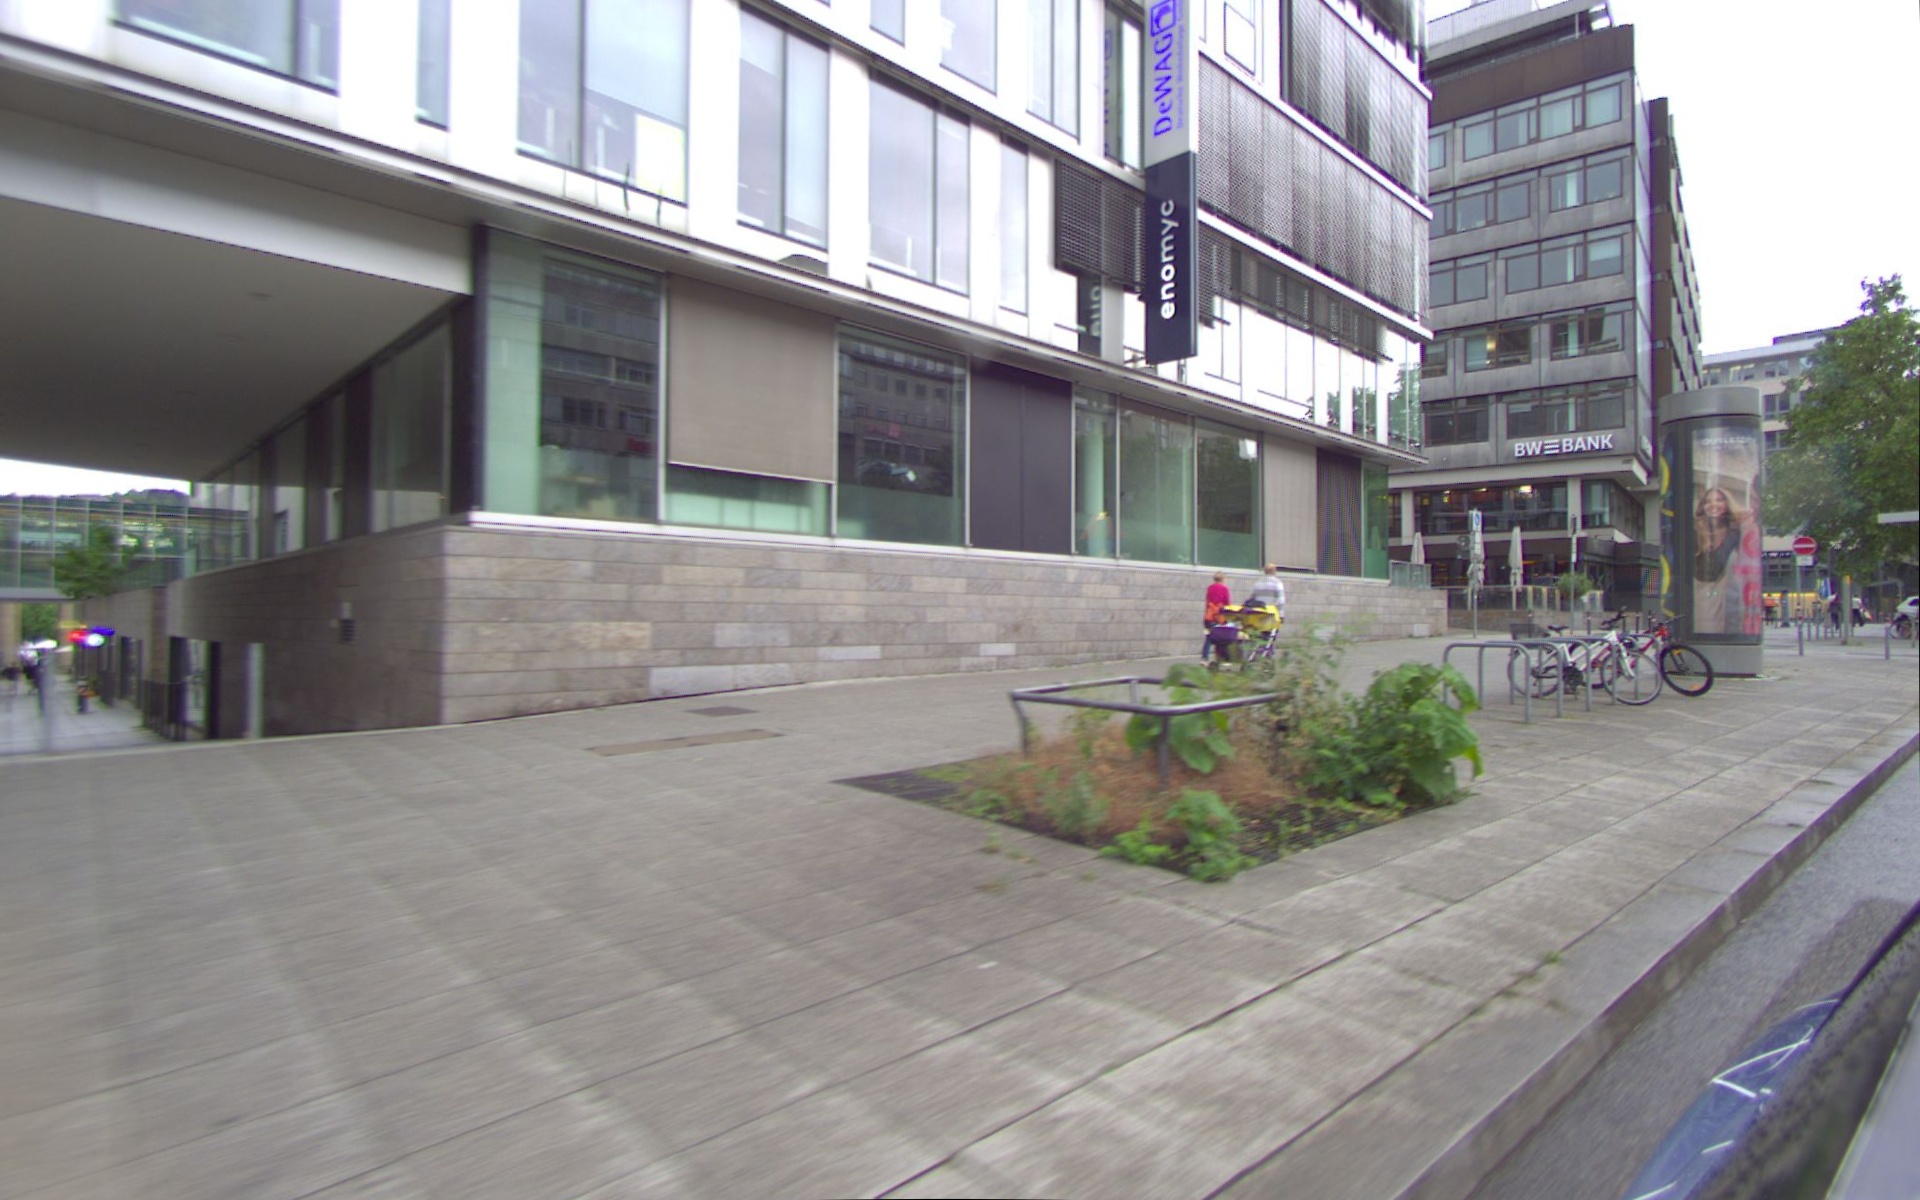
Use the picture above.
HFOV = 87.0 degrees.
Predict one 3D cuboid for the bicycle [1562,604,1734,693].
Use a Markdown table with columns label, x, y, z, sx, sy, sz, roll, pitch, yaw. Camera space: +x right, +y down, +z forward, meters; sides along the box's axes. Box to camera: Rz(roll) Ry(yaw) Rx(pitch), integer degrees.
| label | x | y | z | sx | sy | sz | roll | pitch | yaw |
| --- | --- | --- | --- | --- | --- | --- | --- | --- | --- |
| bicycle | 9.519 | 0.631 | 14.053 | 0.658 | 1.124 | 1.874 | 0 | 0 | -42 |

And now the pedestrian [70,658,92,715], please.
| label | x | y | z | sx | sy | sz | roll | pitch | yaw |
| --- | --- | --- | --- | --- | --- | --- | --- | --- | --- |
| pedestrian | -30.784 | 3.027 | 35.436 | 0.556 | 1.940 | 0.660 | 0 | -3 | -40 |

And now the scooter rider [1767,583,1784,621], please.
| label | x | y | z | sx | sy | sz | roll | pitch | yaw |
| --- | --- | --- | --- | --- | --- | --- | --- | --- | --- |
| scooter rider | 44.578 | 0.094 | 55.298 | 0.840 | 2.051 | 0.626 | 0 | -1 | -45 |

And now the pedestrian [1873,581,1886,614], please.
| label | x | y | z | sx | sy | sz | roll | pitch | yaw |
| --- | --- | --- | --- | --- | --- | --- | --- | --- | --- |
| pedestrian | 48.898 | -0.130 | 53.826 | 0.488 | 1.723 | 0.451 | -1 | 0 | -42 |

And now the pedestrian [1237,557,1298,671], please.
| label | x | y | z | sx | sy | sz | roll | pitch | yaw |
| --- | --- | --- | --- | --- | --- | --- | --- | --- | --- |
| pedestrian | 5.175 | 0.220 | 17.049 | 0.735 | 1.853 | 0.722 | 0 | 1 | -45 |

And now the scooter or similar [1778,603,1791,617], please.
| label | x | y | z | sx | sy | sz | roll | pitch | yaw |
| --- | --- | --- | --- | --- | --- | --- | --- | --- | --- |
| scooter or similar | 44.866 | 0.546 | 55.070 | 0.407 | 0.782 | 1.256 | -1 | 0 | 45 |

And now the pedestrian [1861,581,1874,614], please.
| label | x | y | z | sx | sy | sz | roll | pitch | yaw |
| --- | --- | --- | --- | --- | --- | --- | --- | --- | --- |
| pedestrian | 48.391 | -0.126 | 53.986 | 0.488 | 1.723 | 0.451 | -1 | 0 | -42 |

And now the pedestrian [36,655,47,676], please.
| label | x | y | z | sx | sy | sz | roll | pitch | yaw |
| --- | --- | --- | --- | --- | --- | --- | --- | --- | --- |
| pedestrian | -75.875 | 5.419 | 83.589 | 0.647 | 1.683 | 0.641 | -4 | -3 | 40 |

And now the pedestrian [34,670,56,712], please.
| label | x | y | z | sx | sy | sz | roll | pitch | yaw |
| --- | --- | --- | --- | --- | --- | --- | --- | --- | --- |
| pedestrian | -32.338 | 3.198 | 35.778 | 0.556 | 1.435 | 0.462 | 0 | -3 | -40 |

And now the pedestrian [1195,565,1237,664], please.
| label | x | y | z | sx | sy | sz | roll | pitch | yaw |
| --- | --- | --- | --- | --- | --- | --- | --- | --- | --- |
| pedestrian | 4.501 | 0.244 | 17.807 | 0.570 | 1.720 | 0.484 | 0 | 1 | -45 |

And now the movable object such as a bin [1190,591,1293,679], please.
| label | x | y | z | sx | sy | sz | roll | pitch | yaw |
| --- | --- | --- | --- | --- | --- | --- | --- | --- | --- |
| movable object such as a bin | 4.461 | 0.516 | 15.991 | 1.759 | 1.281 | 0.803 | -1 | 1 | -45 |

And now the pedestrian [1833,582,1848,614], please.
| label | x | y | z | sx | sy | sz | roll | pitch | yaw |
| --- | --- | --- | --- | --- | --- | --- | --- | --- | --- |
| pedestrian | 47.766 | -0.129 | 54.916 | 0.537 | 1.723 | 0.551 | -1 | 0 | -41 |

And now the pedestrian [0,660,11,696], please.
| label | x | y | z | sx | sy | sz | roll | pitch | yaw |
| --- | --- | --- | --- | --- | --- | --- | --- | --- | --- |
| pedestrian | -49.296 | 4.017 | 52.039 | 0.590 | 1.848 | 0.690 | -4 | -3 | 43 |

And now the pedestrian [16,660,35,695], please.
| label | x | y | z | sx | sy | sz | roll | pitch | yaw |
| --- | --- | --- | --- | --- | --- | --- | --- | --- | --- |
| pedestrian | -48.696 | 4.033 | 52.733 | 0.590 | 1.799 | 0.690 | -4 | -3 | 43 |

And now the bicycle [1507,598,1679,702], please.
| label | x | y | z | sx | sy | sz | roll | pitch | yaw |
| --- | --- | --- | --- | --- | --- | --- | --- | --- | --- |
| bicycle | 8.083 | 0.595 | 12.960 | 1.790 | 1.222 | 0.660 | 1 | 0 | 41 |

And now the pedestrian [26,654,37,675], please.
| label | x | y | z | sx | sy | sz | roll | pitch | yaw |
| --- | --- | --- | --- | --- | --- | --- | --- | --- | --- |
| pedestrian | -78.193 | 5.429 | 85.247 | 0.647 | 1.683 | 0.641 | -4 | -3 | 40 |

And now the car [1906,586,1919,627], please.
| label | x | y | z | sx | sy | sz | roll | pitch | yaw |
| --- | --- | --- | --- | --- | --- | --- | --- | --- | --- |
| car | 43.603 | 0.210 | 43.282 | 1.959 | 1.835 | 4.217 | -2 | -1 | -8 |
